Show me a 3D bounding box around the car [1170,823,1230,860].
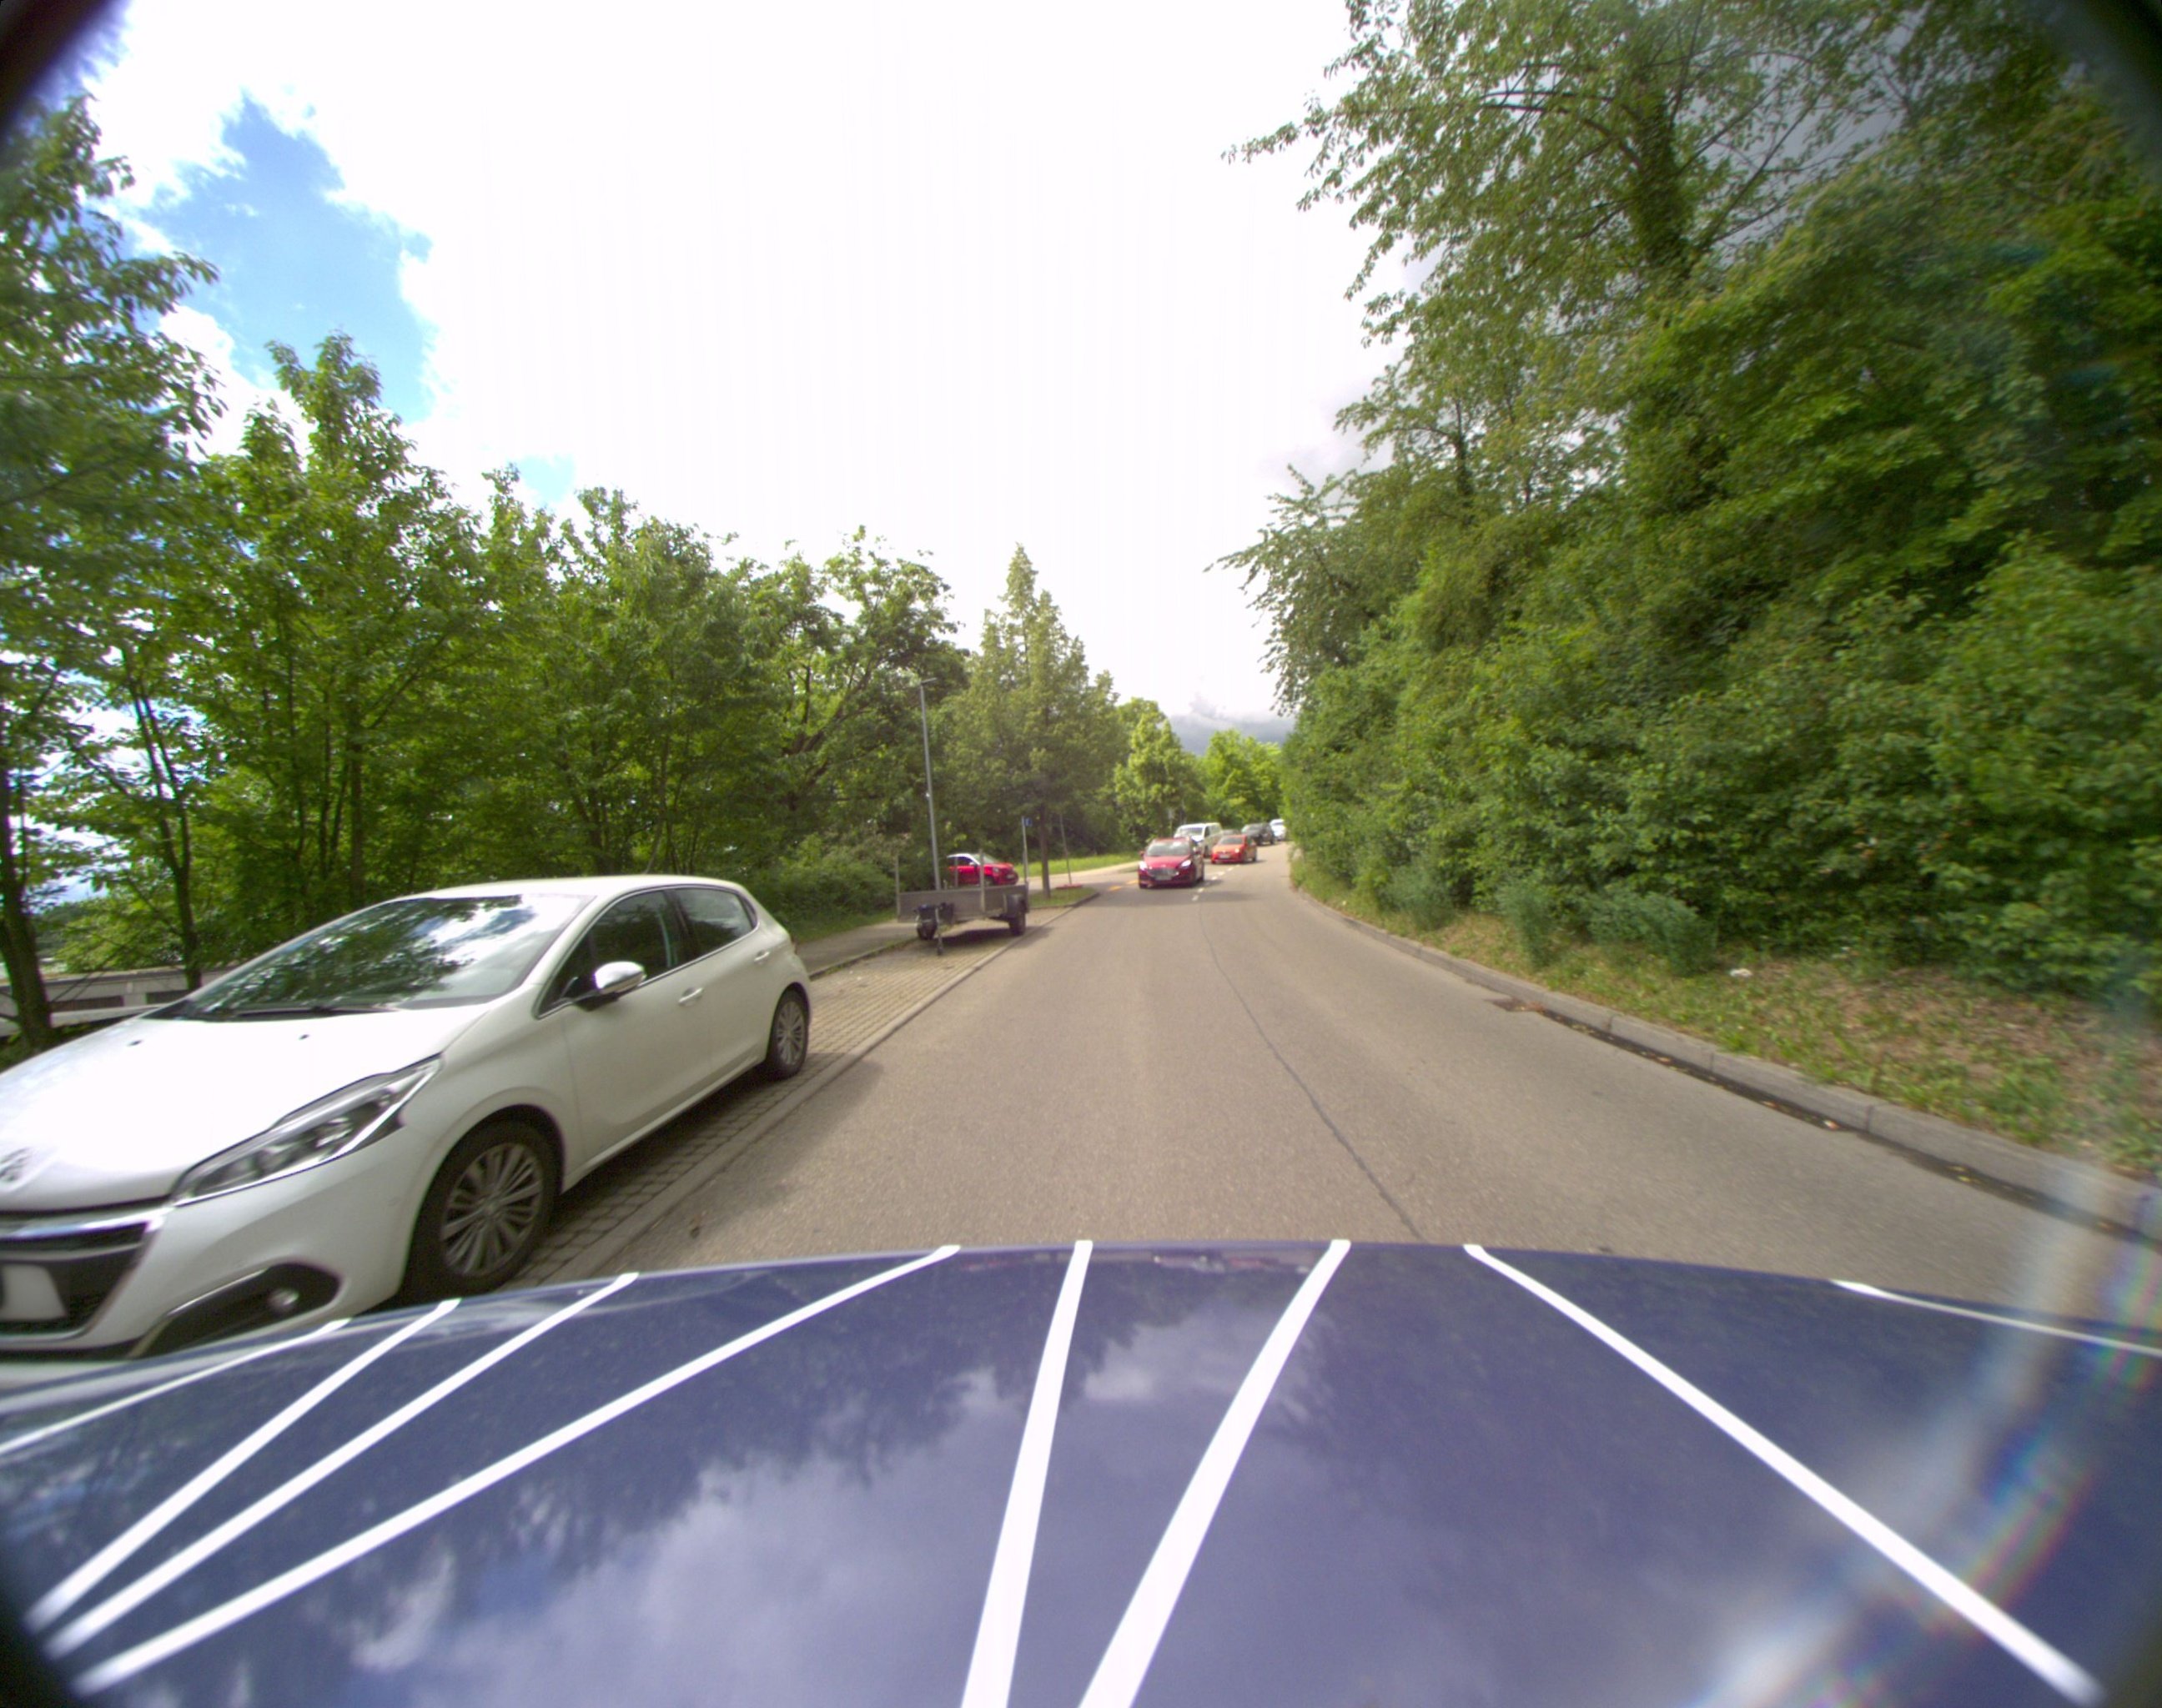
[{"bbox_3d":[7.177,-0.791,45.365,1.867,2.047,5.435,-2,2,27],"label":"car"}]

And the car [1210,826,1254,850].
[{"bbox_3d":[10.233,-1.104,51.313,1.793,1.405,4.111,-2,2,27],"label":"car"}]

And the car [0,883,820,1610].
[{"bbox_3d":[-2.876,1.001,3.647,1.710,1.468,3.783,-2,1,3],"label":"car"}]

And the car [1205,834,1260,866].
[{"bbox_3d":[7.899,-0.227,39.301,1.793,1.405,4.118,-1,3,26],"label":"car"}]

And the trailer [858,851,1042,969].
[{"bbox_3d":[-2.001,0.800,13.068,1.813,1.570,4.491,-2,1,7],"label":"trailer"}]

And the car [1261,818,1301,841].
[{"bbox_3d":[16.101,-1.985,61.056,1.792,1.704,4.112,-1,2,35],"label":"car"}]

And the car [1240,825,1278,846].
[{"bbox_3d":[13.150,-1.353,56.049,1.793,1.405,4.111,-2,2,27],"label":"car"}]

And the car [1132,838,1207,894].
[{"bbox_3d":[3.158,0.335,26.247,1.910,1.689,4.390,-2,1,15],"label":"car"}]

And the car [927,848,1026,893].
[{"bbox_3d":[-4.143,0.673,30.141,3.480,1.509,1.654,-3,2,27],"label":"car"}]
